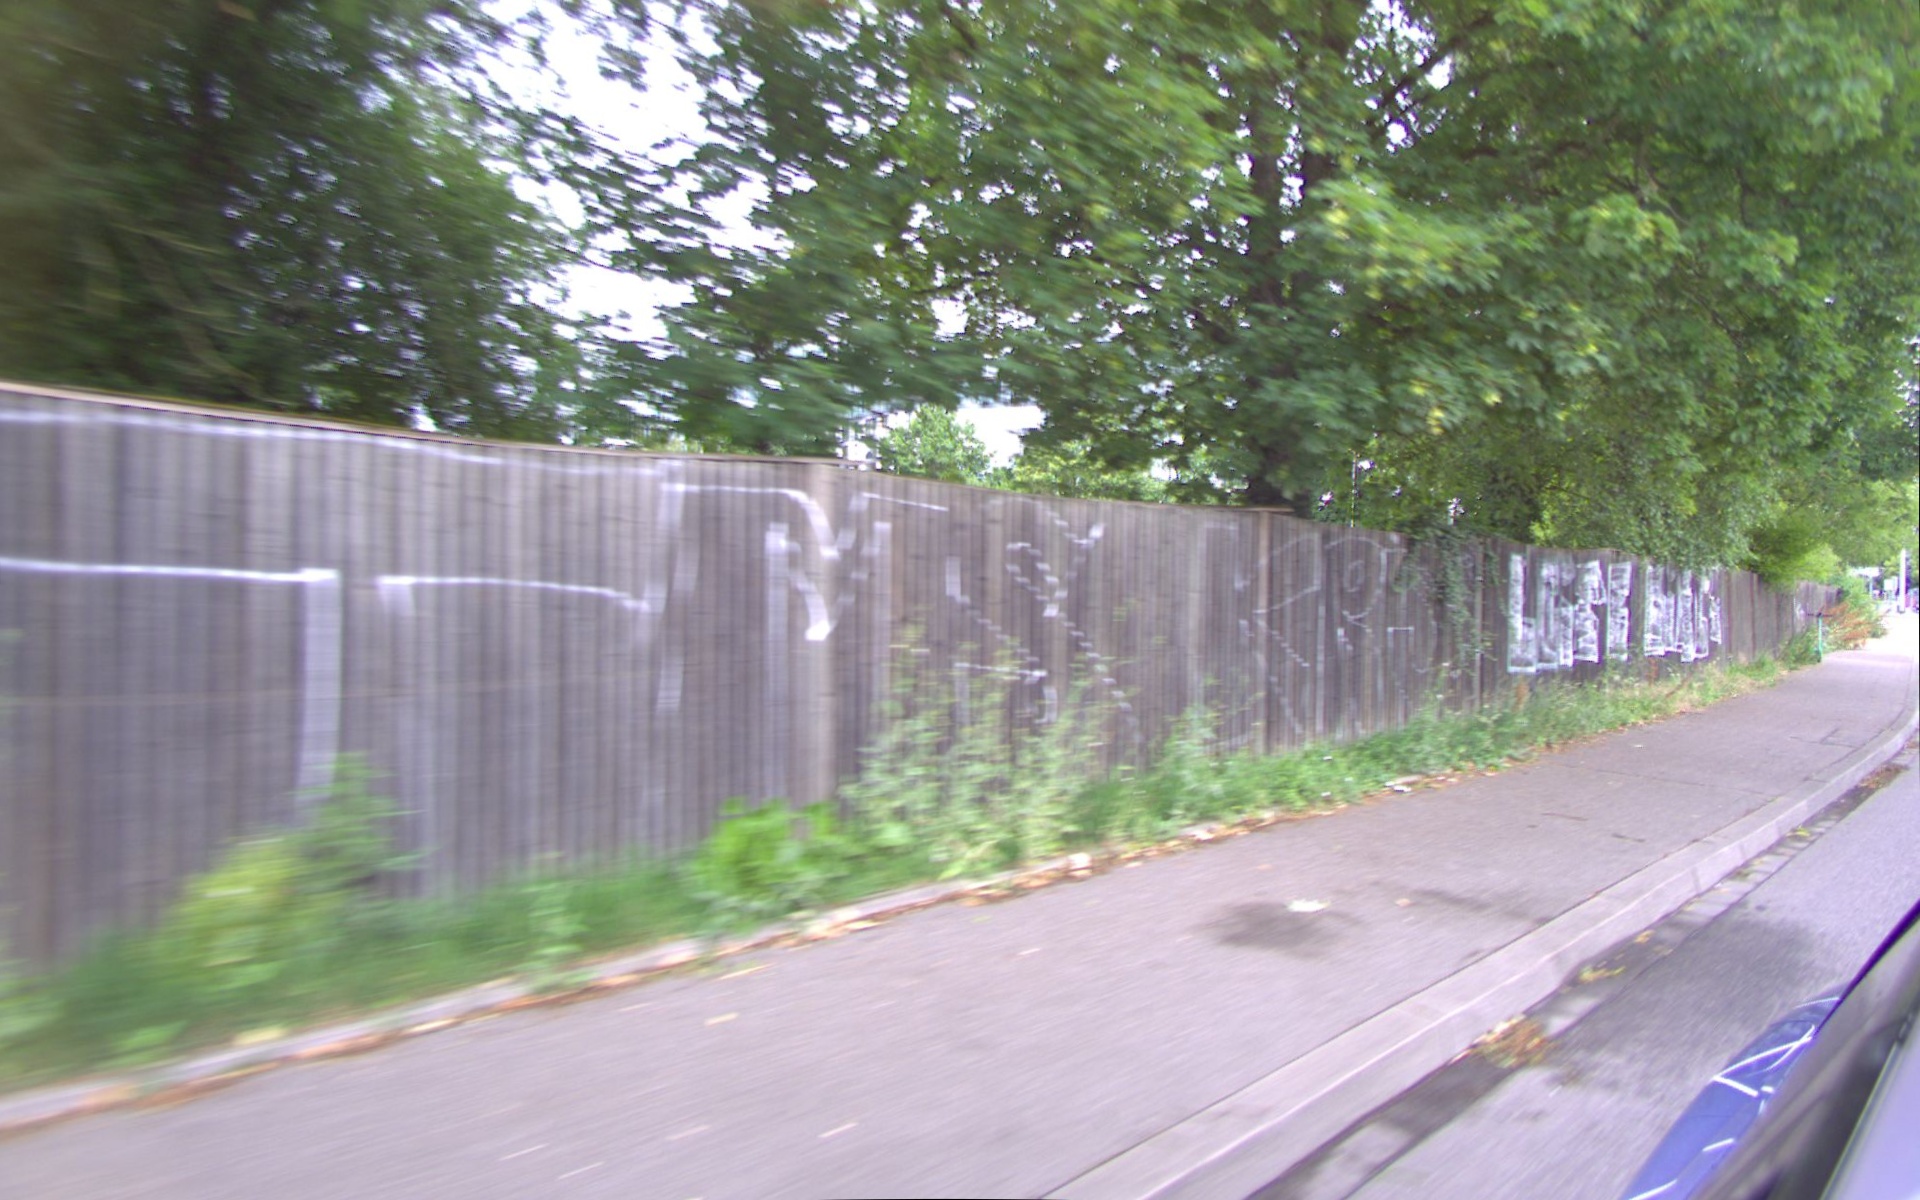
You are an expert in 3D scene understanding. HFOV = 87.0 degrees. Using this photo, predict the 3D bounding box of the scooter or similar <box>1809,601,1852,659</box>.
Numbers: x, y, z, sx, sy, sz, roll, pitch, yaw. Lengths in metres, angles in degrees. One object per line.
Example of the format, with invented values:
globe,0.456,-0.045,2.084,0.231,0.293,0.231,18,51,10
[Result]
scooter or similar,21.006,0.707,24.413,0.691,1.329,2.316,1,0,43
